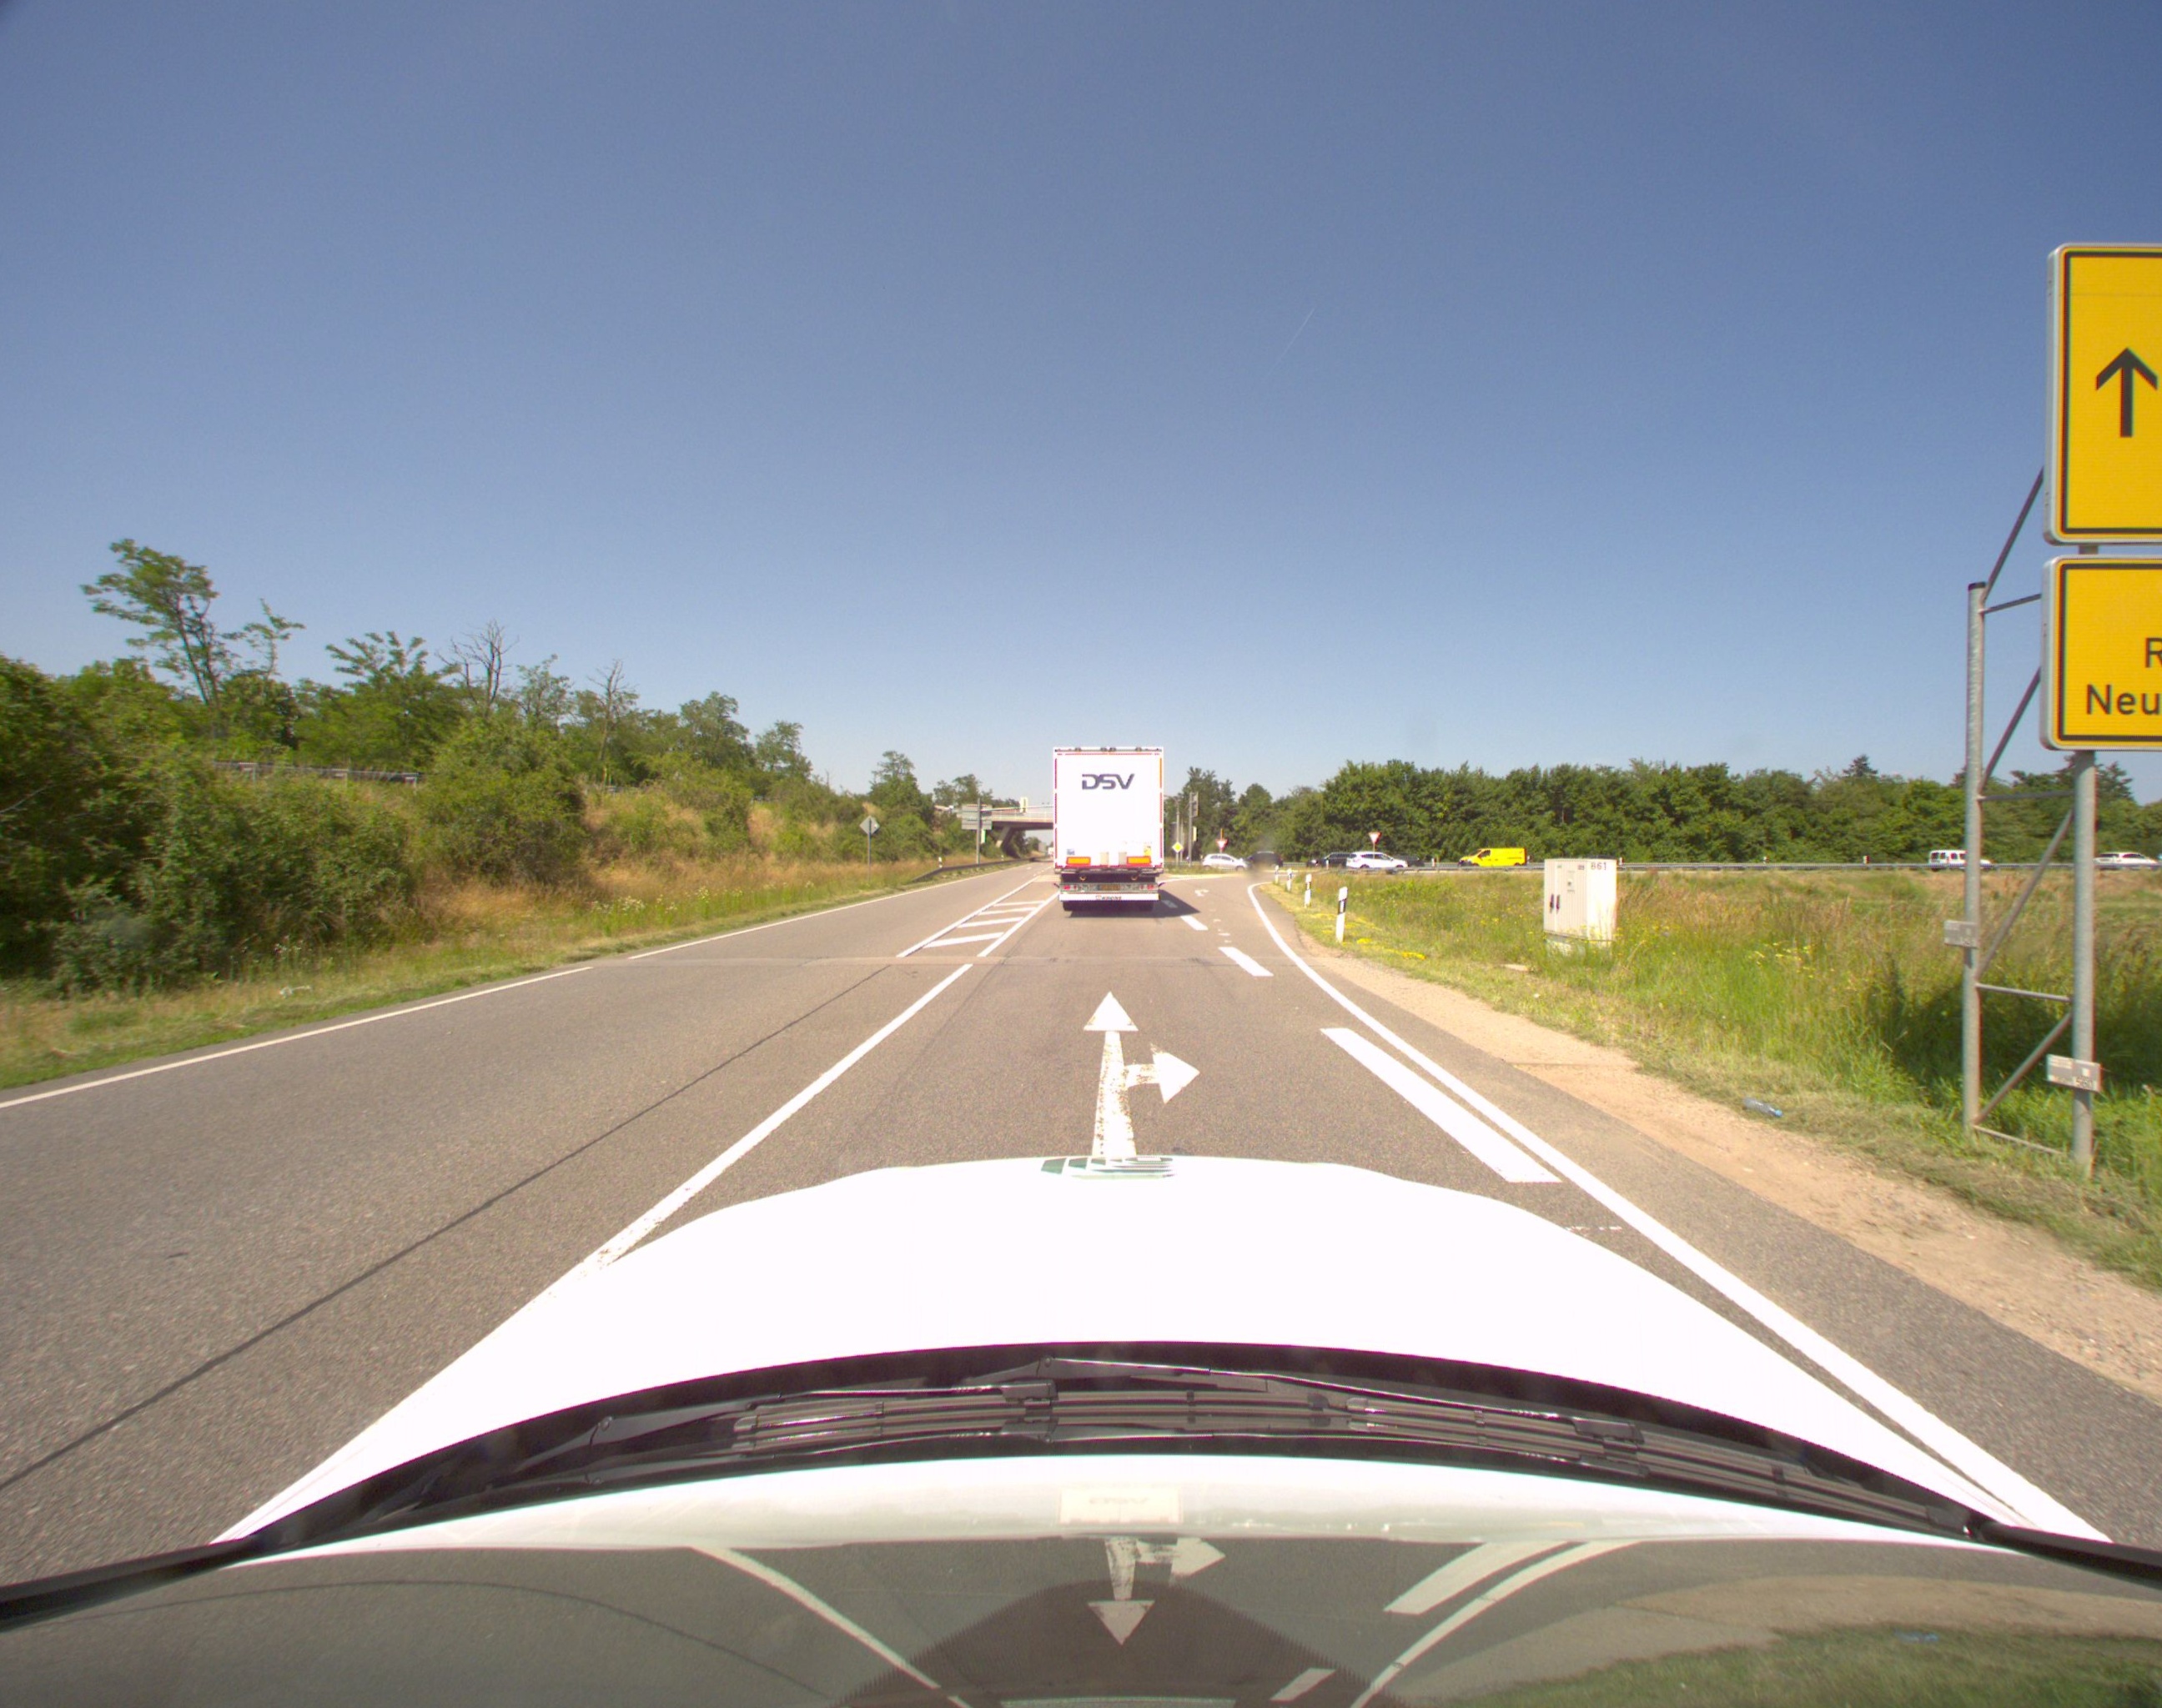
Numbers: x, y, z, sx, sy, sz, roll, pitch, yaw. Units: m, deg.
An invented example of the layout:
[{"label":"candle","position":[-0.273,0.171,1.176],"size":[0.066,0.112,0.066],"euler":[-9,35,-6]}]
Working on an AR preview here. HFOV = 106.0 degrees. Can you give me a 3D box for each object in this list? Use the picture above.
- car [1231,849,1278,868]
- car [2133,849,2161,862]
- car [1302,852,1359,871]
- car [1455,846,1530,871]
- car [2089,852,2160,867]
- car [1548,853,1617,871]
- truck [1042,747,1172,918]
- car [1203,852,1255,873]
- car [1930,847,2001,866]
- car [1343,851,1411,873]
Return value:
[{"label":"car","position":[15.258,0.439,71.880],"size":[3.963,1.640,1.845],"euler":[0,-1,7]},{"label":"car","position":[125.883,0.141,95.472],"size":[1.829,1.514,4.727],"euler":[-1,-1,35]},{"label":"car","position":[21.295,0.655,69.649],"size":[4.465,1.598,1.770],"euler":[0,-1,4]},{"label":"car","position":[34.701,0.380,68.826],"size":[5.300,2.014,2.002],"euler":[0,-1,3]},{"label":"car","position":[86.127,0.477,67.224],"size":[3.980,1.189,1.714],"euler":[0,-1,-5]},{"label":"car","position":[42.244,0.669,68.658],"size":[4.661,1.514,1.855],"euler":[0,-1,4]},{"label":"truck","position":[0.742,-0.478,23.673],"size":[2.976,3.942,9.879],"euler":[0,0,2]},{"label":"car","position":[11.211,0.646,61.597],"size":[3.654,1.567,1.746],"euler":[0,-1,15]},{"label":"car","position":[71.701,0.211,66.050],"size":[3.976,1.569,1.716],"euler":[0,-1,-2]},{"label":"car","position":[22.034,0.604,60.696],"size":[4.458,1.567,1.737],"euler":[0,-1,-3]}]
